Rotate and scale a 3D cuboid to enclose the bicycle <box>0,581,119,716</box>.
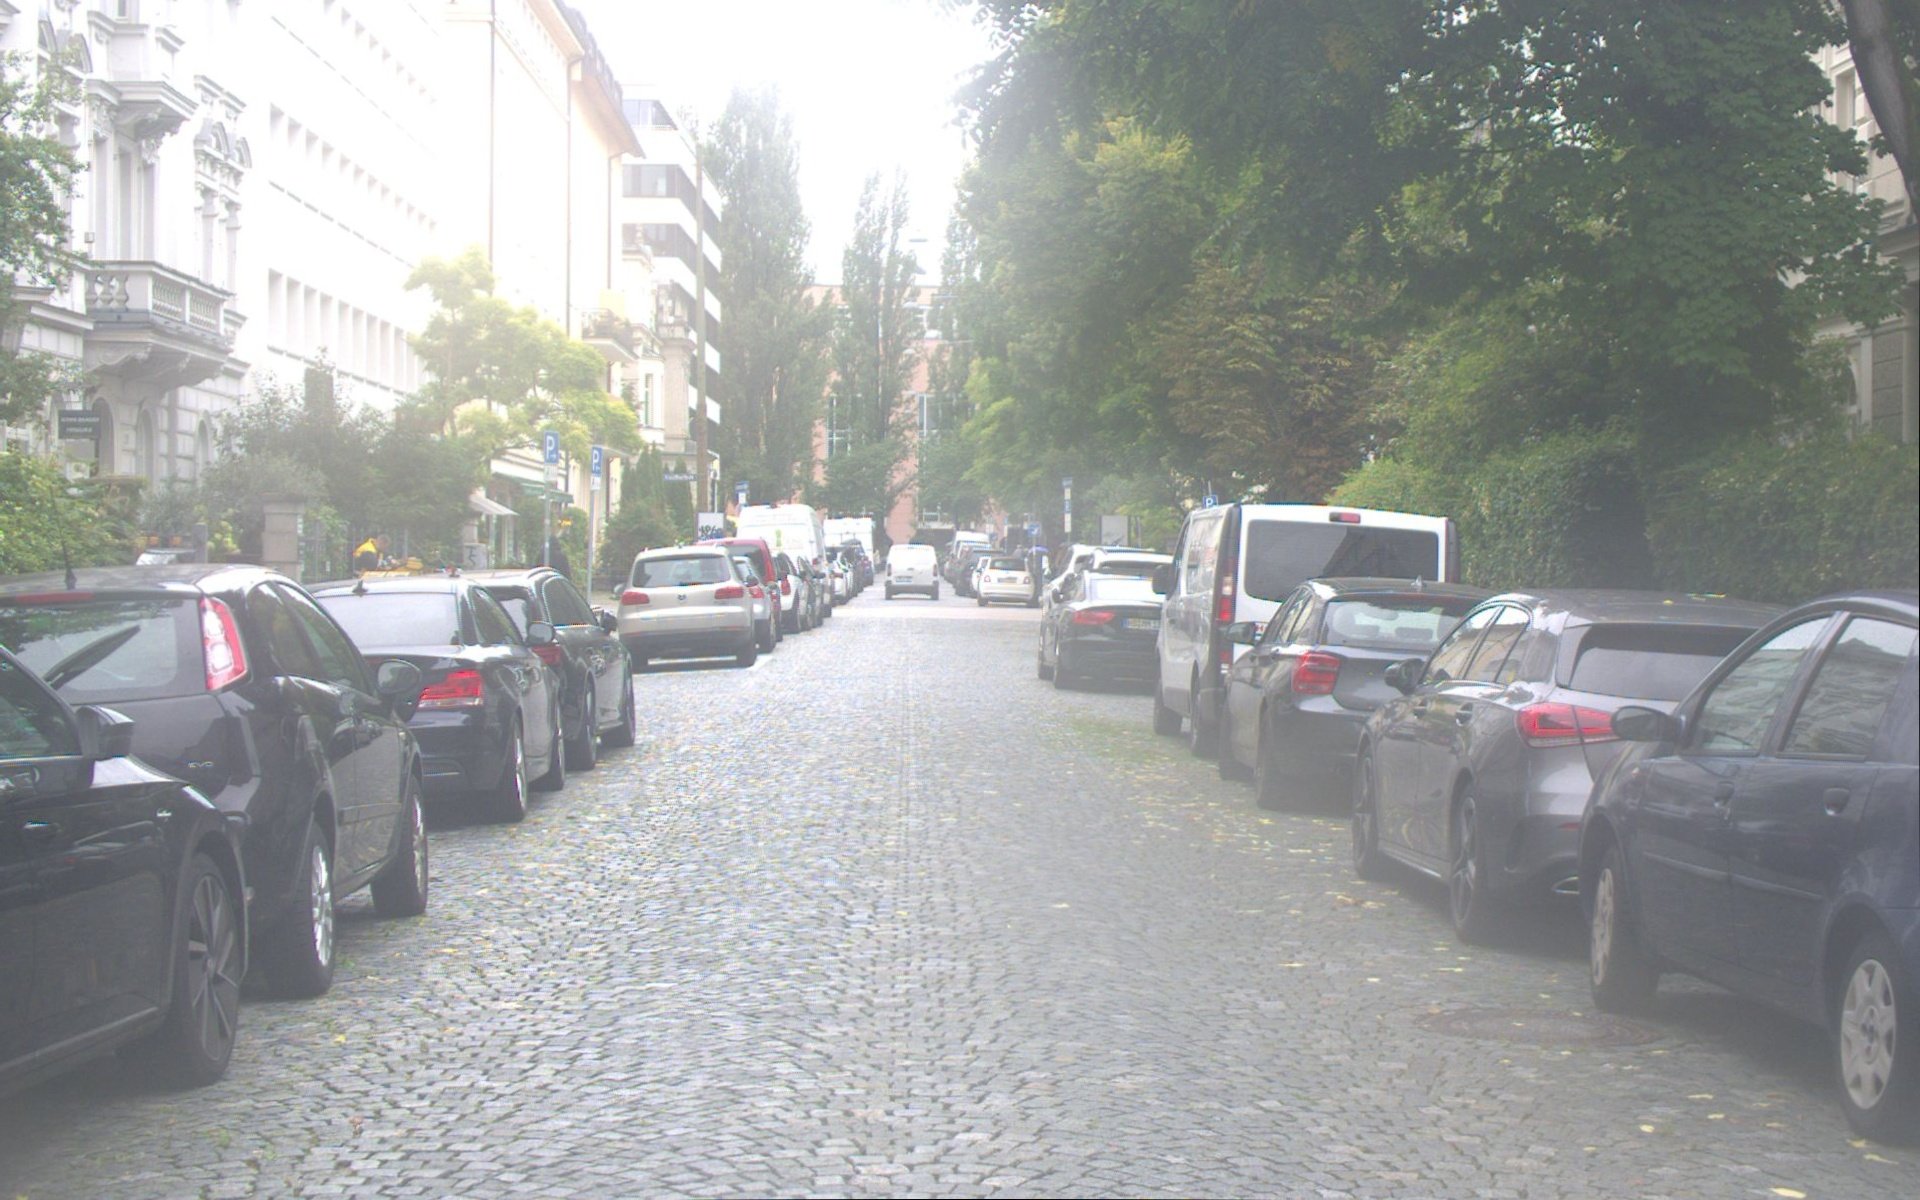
[{"bbox_3d":[-7.918,0.406,30.263,0.576,1.118,2.051,1,1,-2],"label":"bicycle"}]

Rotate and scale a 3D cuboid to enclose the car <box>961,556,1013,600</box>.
[{"bbox_3d":[0.941,-0.783,121.789,1.790,1.515,4.000,1,1,0],"label":"car"}]

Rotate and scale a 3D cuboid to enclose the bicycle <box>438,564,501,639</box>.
[{"bbox_3d":[-8.207,0.019,57.469,0.655,1.217,2.090,0,1,-19],"label":"bicycle"}]

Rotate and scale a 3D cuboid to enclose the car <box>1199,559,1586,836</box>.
[{"bbox_3d":[2.629,0.532,21.887,1.837,1.485,4.421,3,1,0],"label":"car"}]

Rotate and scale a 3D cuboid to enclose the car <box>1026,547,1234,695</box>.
[{"bbox_3d":[1.886,0.199,39.546,1.873,1.498,4.512,3,1,-3],"label":"car"}]

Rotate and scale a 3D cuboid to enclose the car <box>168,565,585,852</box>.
[{"bbox_3d":[-3.321,0.547,20.384,1.783,1.412,4.497,-3,1,-2],"label":"car"}]

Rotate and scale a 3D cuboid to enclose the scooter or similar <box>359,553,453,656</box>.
[{"bbox_3d":[-7.996,0.046,49.726,0.941,1.437,2.657,1,1,-1],"label":"scooter or similar"}]

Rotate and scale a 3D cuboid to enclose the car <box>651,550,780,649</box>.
[{"bbox_3d":[-3.760,-0.037,53.434,1.873,1.446,4.208,-1,1,-3],"label":"car"}]

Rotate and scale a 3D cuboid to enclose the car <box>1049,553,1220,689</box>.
[{"bbox_3d":[2.225,0.235,44.820,1.817,1.574,4.208,4,1,-1],"label":"car"}]

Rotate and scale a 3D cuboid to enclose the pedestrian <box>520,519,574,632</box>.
[{"bbox_3d":[-7.150,-0.425,59.555,0.792,1.911,0.759,2,1,-1],"label":"pedestrian"}]

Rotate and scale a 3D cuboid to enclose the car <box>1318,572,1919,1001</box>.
[{"bbox_3d":[2.721,0.672,14.796,1.713,1.467,4.269,3,1,-2],"label":"car"}]

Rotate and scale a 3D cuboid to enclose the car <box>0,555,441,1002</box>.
[{"bbox_3d":[-3.014,0.554,13.215,1.662,1.439,4.172,-1,1,-4],"label":"car"}]

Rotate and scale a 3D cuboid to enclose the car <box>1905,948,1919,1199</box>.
[{"bbox_3d":[2.950,0.735,4.799,1.873,1.664,4.657,3,1,-1],"label":"car"}]

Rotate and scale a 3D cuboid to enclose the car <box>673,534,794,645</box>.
[{"bbox_3d":[-3.905,-0.200,59.809,1.873,1.770,4.123,-3,1,-2],"label":"car"}]

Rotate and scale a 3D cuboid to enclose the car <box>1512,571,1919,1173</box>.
[{"bbox_3d":[3.046,0.692,10.411,1.693,1.435,4.062,3,1,-5],"label":"car"}]

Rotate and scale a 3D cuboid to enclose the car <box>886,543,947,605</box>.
[{"bbox_3d":[-1.436,-0.883,115.808,1.993,2.007,4.000,1,1,0],"label":"car"}]

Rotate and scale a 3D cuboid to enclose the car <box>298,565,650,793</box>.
[{"bbox_3d":[-3.442,0.504,25.148,1.887,1.412,4.407,-3,1,0],"label":"car"}]

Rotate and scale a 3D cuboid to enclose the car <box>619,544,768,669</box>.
[{"bbox_3d":[-3.631,0.051,47.417,1.873,1.574,4.256,-2,1,-3],"label":"car"}]

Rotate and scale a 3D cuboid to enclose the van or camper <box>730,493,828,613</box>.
[{"bbox_3d":[-4.178,-1.087,80.050,1.993,2.643,4.000,-2,1,0],"label":"van or camper"}]

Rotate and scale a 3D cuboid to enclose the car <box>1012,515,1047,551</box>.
[{"bbox_3d":[4.118,-3.967,204.030,1.993,2.007,4.000,1,0,0],"label":"car"}]

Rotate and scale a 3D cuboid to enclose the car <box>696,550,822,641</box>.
[{"bbox_3d":[-3.770,-0.099,65.104,1.873,1.574,4.208,3,1,3],"label":"car"}]

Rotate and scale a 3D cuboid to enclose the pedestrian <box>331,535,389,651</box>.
[{"bbox_3d":[-8.763,-0.108,50.256,0.717,1.682,0.695,1,1,-1],"label":"pedestrian"}]

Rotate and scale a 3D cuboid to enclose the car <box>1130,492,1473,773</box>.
[{"bbox_3d":[2.598,0.201,27.396,1.873,1.922,5.165,3,1,-3],"label":"car"}]

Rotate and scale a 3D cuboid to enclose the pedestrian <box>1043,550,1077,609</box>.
[{"bbox_3d":[3.441,-0.695,118.105,0.856,2.007,0.991,1,1,-18],"label":"pedestrian"}]

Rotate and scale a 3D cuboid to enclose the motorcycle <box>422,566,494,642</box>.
[{"bbox_3d":[-8.061,0.058,55.304,0.623,1.192,1.864,1,1,8],"label":"motorcycle"}]

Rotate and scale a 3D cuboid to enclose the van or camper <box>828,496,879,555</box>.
[{"bbox_3d":[-5.078,-3.547,164.597,2.256,2.733,5.098,1,1,-1],"label":"van or camper"}]

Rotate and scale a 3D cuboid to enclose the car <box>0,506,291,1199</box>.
[{"bbox_3d":[-3.089,0.581,8.144,1.978,1.556,5.017,-1,1,0],"label":"car"}]

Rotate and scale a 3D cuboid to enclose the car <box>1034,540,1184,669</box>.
[{"bbox_3d":[2.177,0.038,51.398,1.873,1.727,4.593,3,1,-1],"label":"car"}]

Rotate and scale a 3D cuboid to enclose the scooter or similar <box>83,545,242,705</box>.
[{"bbox_3d":[-7.614,0.212,32.954,0.941,1.437,2.657,2,1,-2],"label":"scooter or similar"}]

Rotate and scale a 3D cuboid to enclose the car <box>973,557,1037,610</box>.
[{"bbox_3d":[1.307,-0.497,101.148,1.790,1.515,4.000,1,1,0],"label":"car"}]
